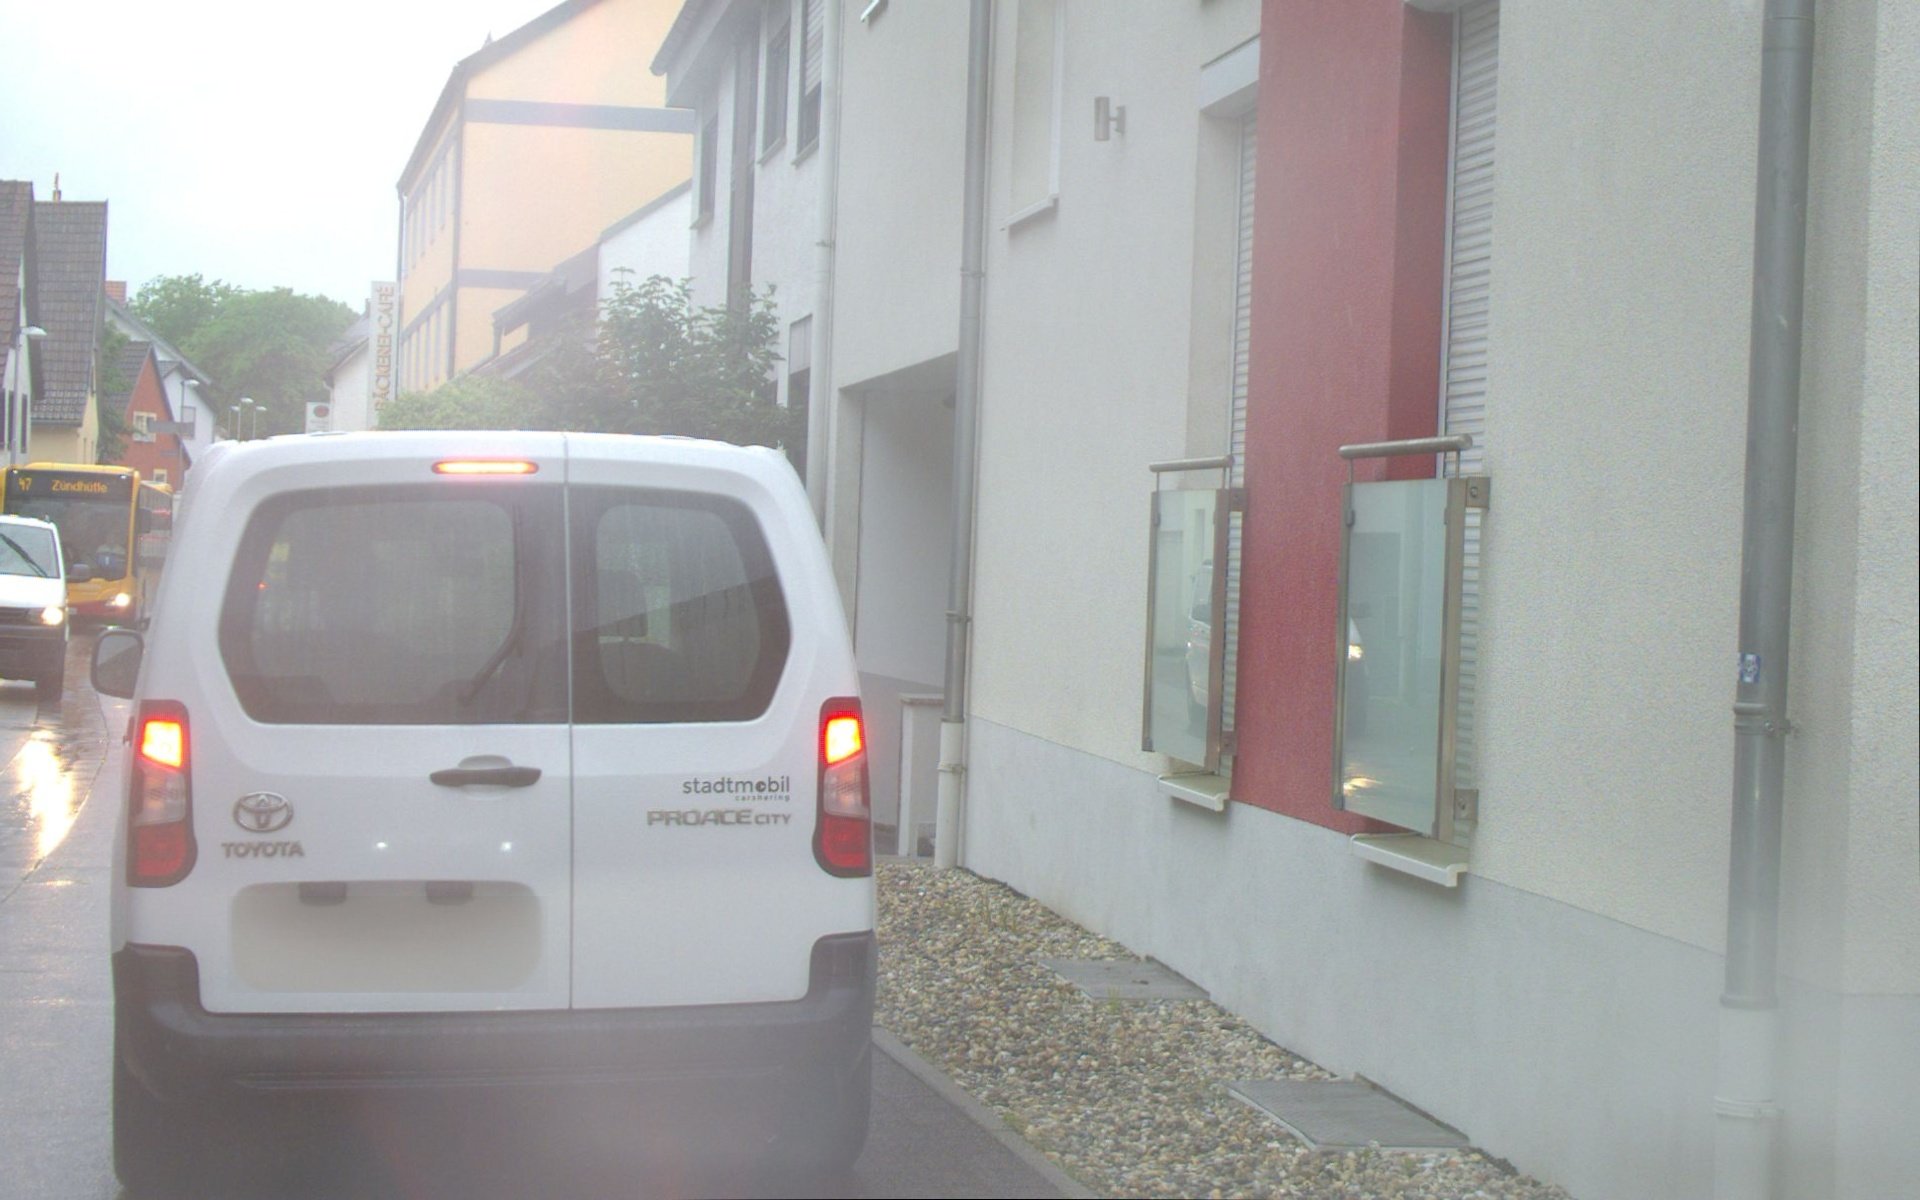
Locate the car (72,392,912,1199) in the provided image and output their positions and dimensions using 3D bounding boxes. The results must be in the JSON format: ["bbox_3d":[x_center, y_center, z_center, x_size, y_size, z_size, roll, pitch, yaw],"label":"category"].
[{"bbox_3d":[-1.406,0.459,9.460,1.794,1.812,4.103,0,0,-12],"label":"car"}]

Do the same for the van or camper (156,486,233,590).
[{"bbox_3d":[-22.684,-1.807,102.064,1.834,2.915,5.364,3,0,-10],"label":"van or camper"}]

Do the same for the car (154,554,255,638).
[{"bbox_3d":[-13.311,-0.073,60.682,1.561,1.367,3.586,3,0,-11],"label":"car"}]

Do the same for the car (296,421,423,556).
[{"bbox_3d":[-9.848,-1.784,56.187,1.826,2.007,3.695,3,0,-12],"label":"car"}]

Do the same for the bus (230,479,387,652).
[{"bbox_3d":[-13.467,-0.688,70.807,2.792,3.169,8.180,4,-1,-11],"label":"bus"}]

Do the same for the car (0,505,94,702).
[{"bbox_3d":[-10.524,-0.012,36.949,1.892,1.960,4.724,3,0,-10],"label":"car"}]

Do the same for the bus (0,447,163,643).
[{"bbox_3d":[-16.797,-1.008,65.299,2.792,3.318,8.180,4,-1,-11],"label":"bus"}]

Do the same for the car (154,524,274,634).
[{"bbox_3d":[-10.927,-0.306,50.531,1.561,1.475,3.586,3,0,-11],"label":"car"}]

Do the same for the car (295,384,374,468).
[{"bbox_3d":[-17.235,-4.762,94.760,1.993,2.007,4.001,3,0,-10],"label":"car"}]
